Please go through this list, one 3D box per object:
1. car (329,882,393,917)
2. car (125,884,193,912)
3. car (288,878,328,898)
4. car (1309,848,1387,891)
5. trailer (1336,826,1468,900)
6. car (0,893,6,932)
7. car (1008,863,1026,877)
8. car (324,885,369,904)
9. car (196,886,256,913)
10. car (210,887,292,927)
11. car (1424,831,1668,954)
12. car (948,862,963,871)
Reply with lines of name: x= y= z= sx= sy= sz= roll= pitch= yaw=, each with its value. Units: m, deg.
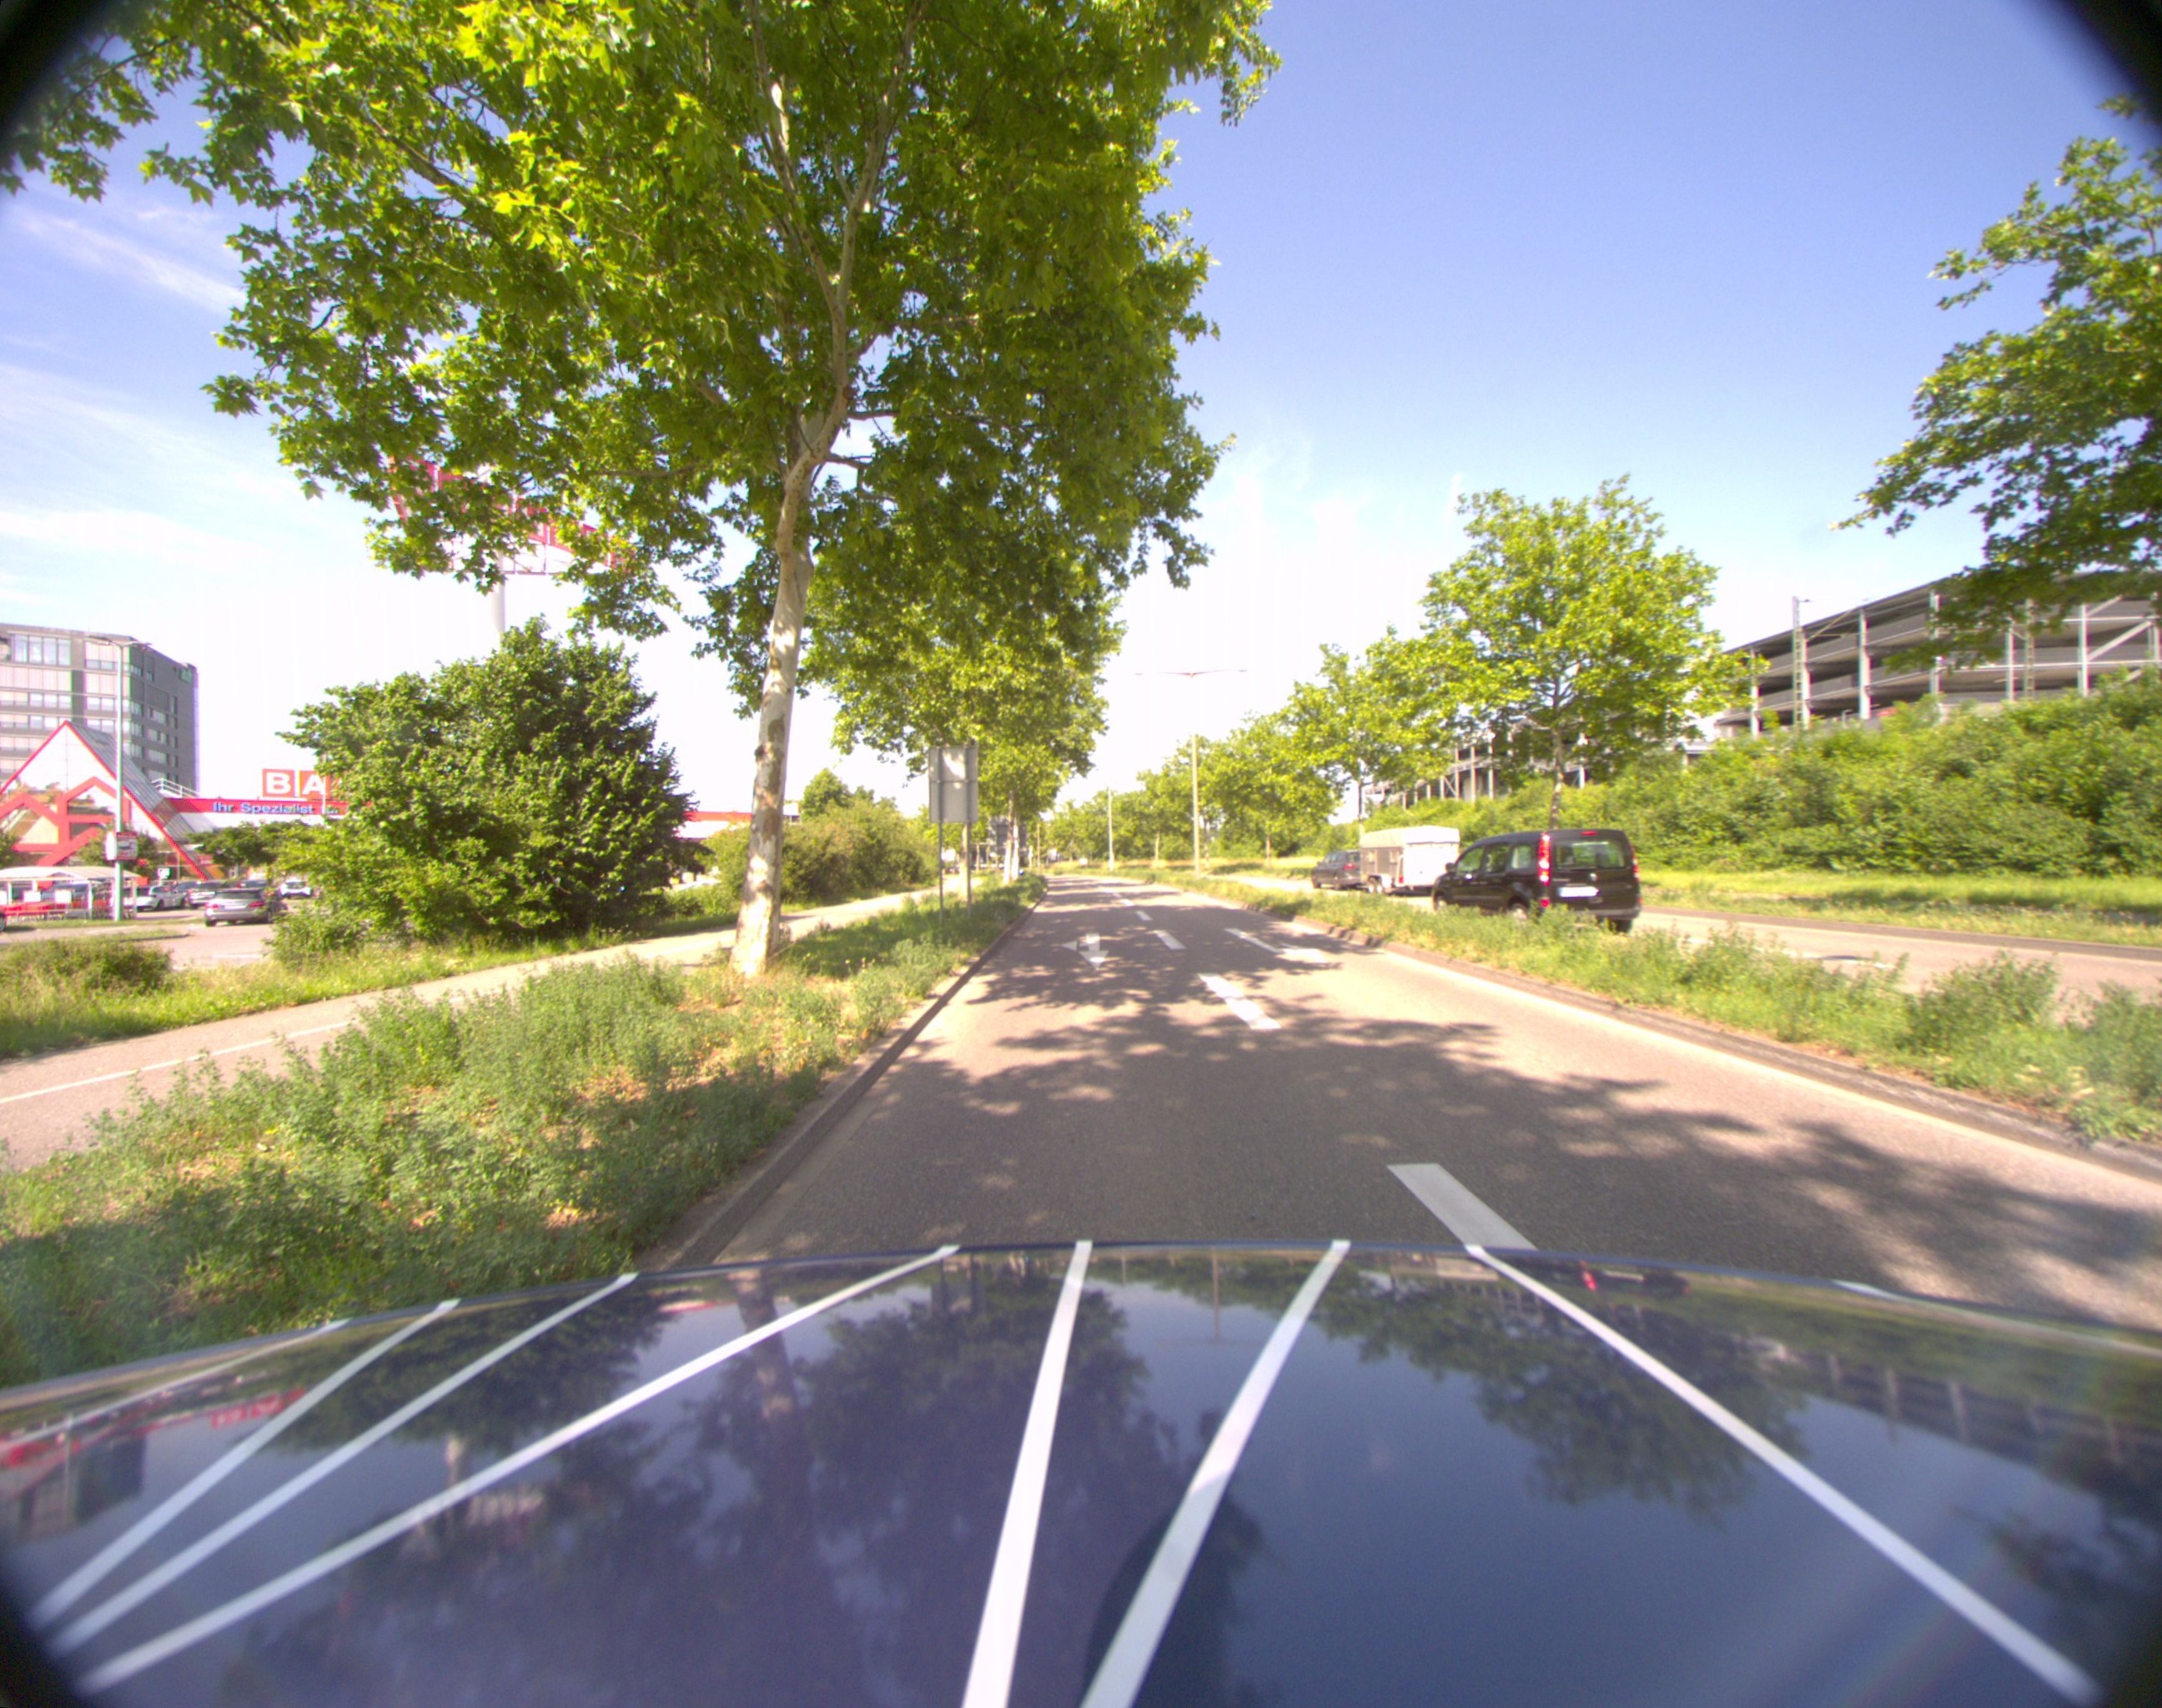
car: x=-37.085 y=2.289 z=39.250 sx=1.633 sy=1.618 sz=4.747 roll=1 pitch=-2 yaw=-34
car: x=-51.678 y=2.435 z=42.665 sx=1.572 sy=1.371 sz=3.610 roll=-2 pitch=0 yaw=-37
car: x=-60.039 y=2.627 z=59.046 sx=1.572 sy=1.371 sz=3.610 roll=-2 pitch=0 yaw=-37
car: x=10.842 y=0.581 z=31.186 sx=1.719 sy=1.612 sz=4.361 roll=-1 pitch=0 yaw=1
trailer: x=10.931 y=0.254 z=26.416 sx=2.314 sy=2.252 sz=5.538 roll=-1 pitch=0 yaw=1
car: x=-41.930 y=2.280 z=27.969 sx=1.685 sy=1.537 sz=3.779 roll=-2 pitch=0 yaw=-39
car: x=-7.910 y=1.939 z=93.802 sx=1.723 sy=1.575 sz=3.750 roll=-2 pitch=0 yaw=-13
car: x=-45.668 y=2.508 z=47.278 sx=1.521 sy=1.053 sz=3.179 roll=-3 pitch=1 yaw=-36
car: x=-49.897 y=2.621 z=44.412 sx=1.572 sy=1.371 sz=3.610 roll=-2 pitch=0 yaw=-37
car: x=-35.809 y=2.233 z=32.865 sx=1.784 sy=1.477 sz=3.779 roll=-2 pitch=0 yaw=-39
car: x=8.066 y=0.577 z=13.719 sx=1.735 sy=1.798 sz=4.231 roll=-3 pitch=0 yaw=0
car: x=-21.555 y=2.118 z=130.131 sx=1.651 sy=1.592 sz=3.596 roll=-2 pitch=0 yaw=-25
